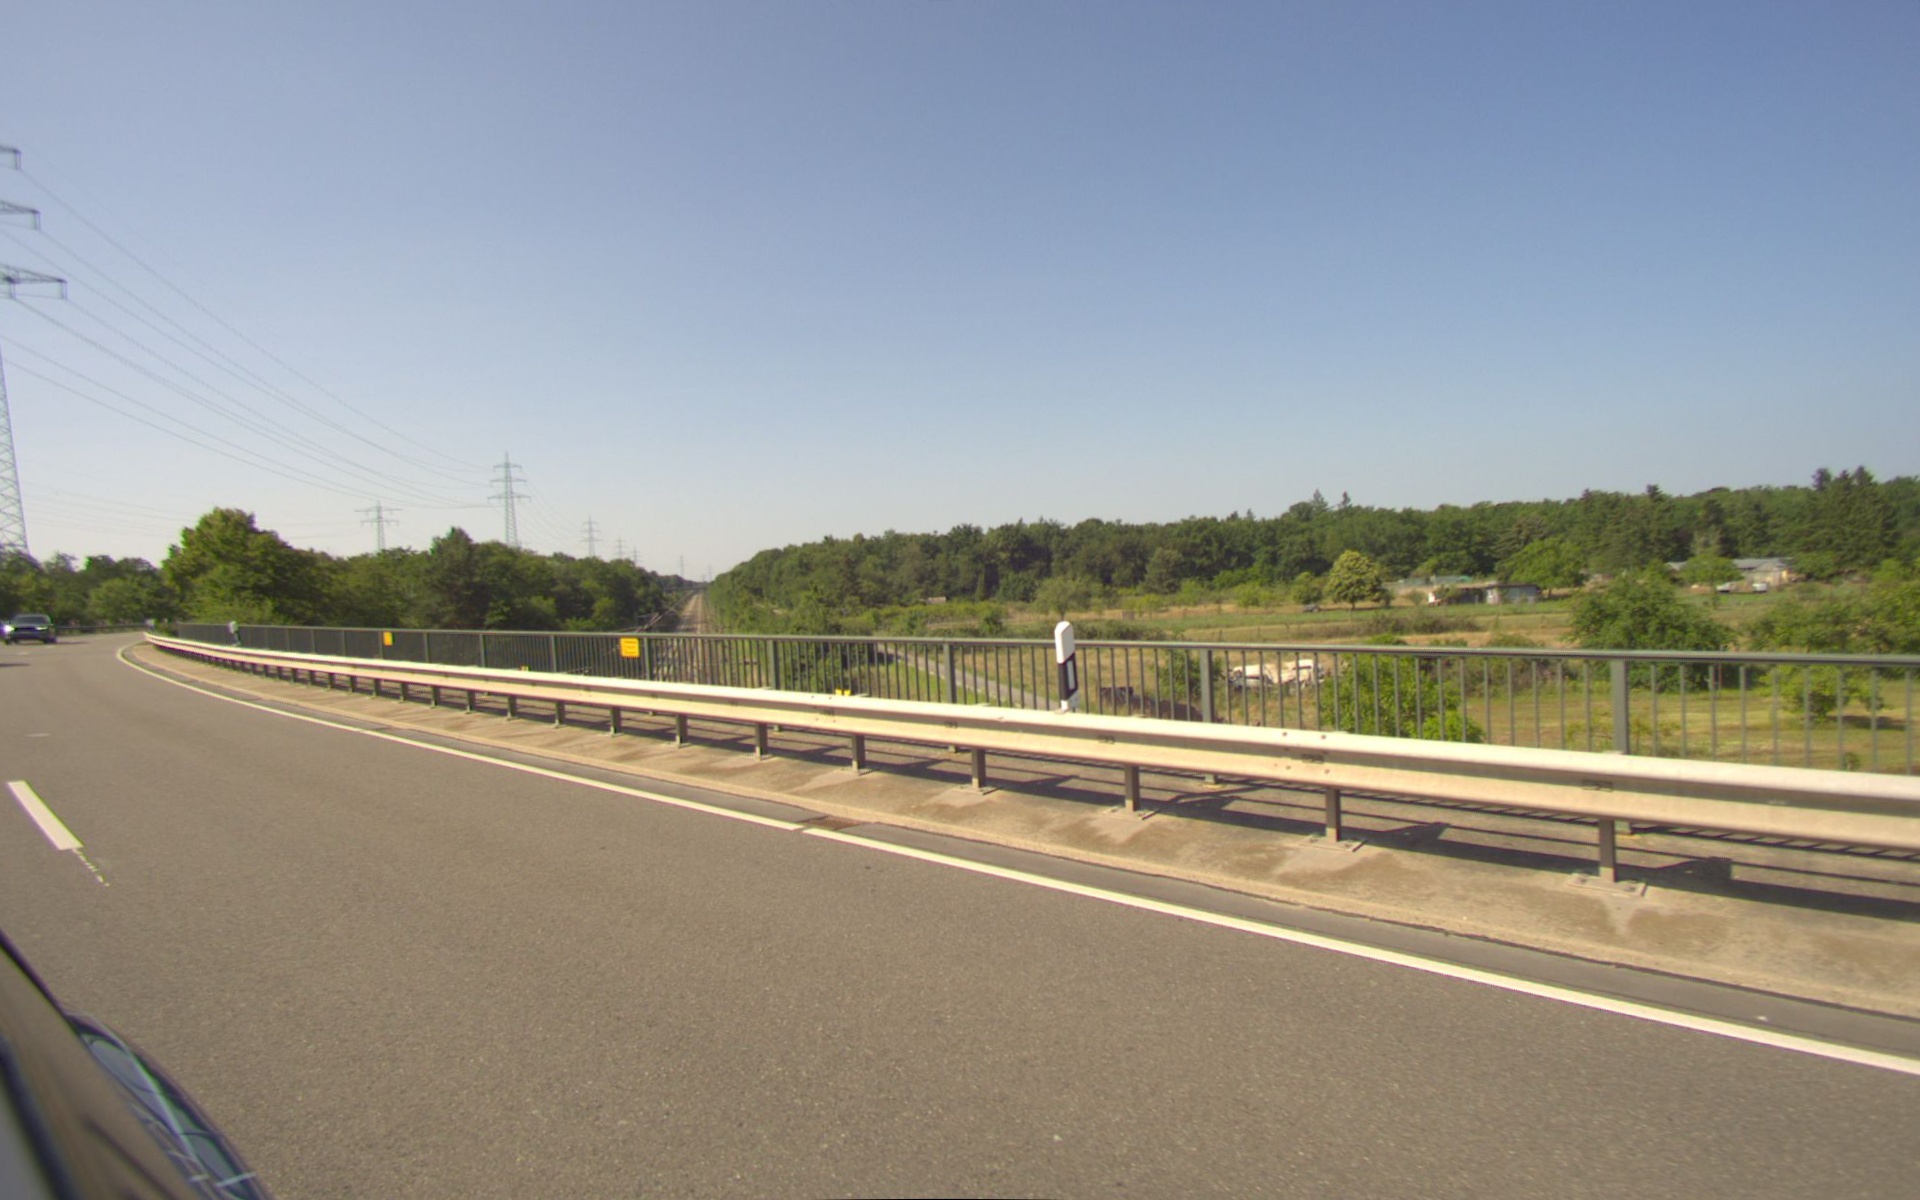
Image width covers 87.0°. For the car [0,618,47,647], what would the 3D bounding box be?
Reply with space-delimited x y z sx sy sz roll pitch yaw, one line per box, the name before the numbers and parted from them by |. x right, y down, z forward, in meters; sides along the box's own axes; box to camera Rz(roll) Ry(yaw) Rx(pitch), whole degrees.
car | -53.260 1.824 57.603 1.582 1.506 4.009 -1 1 -37
